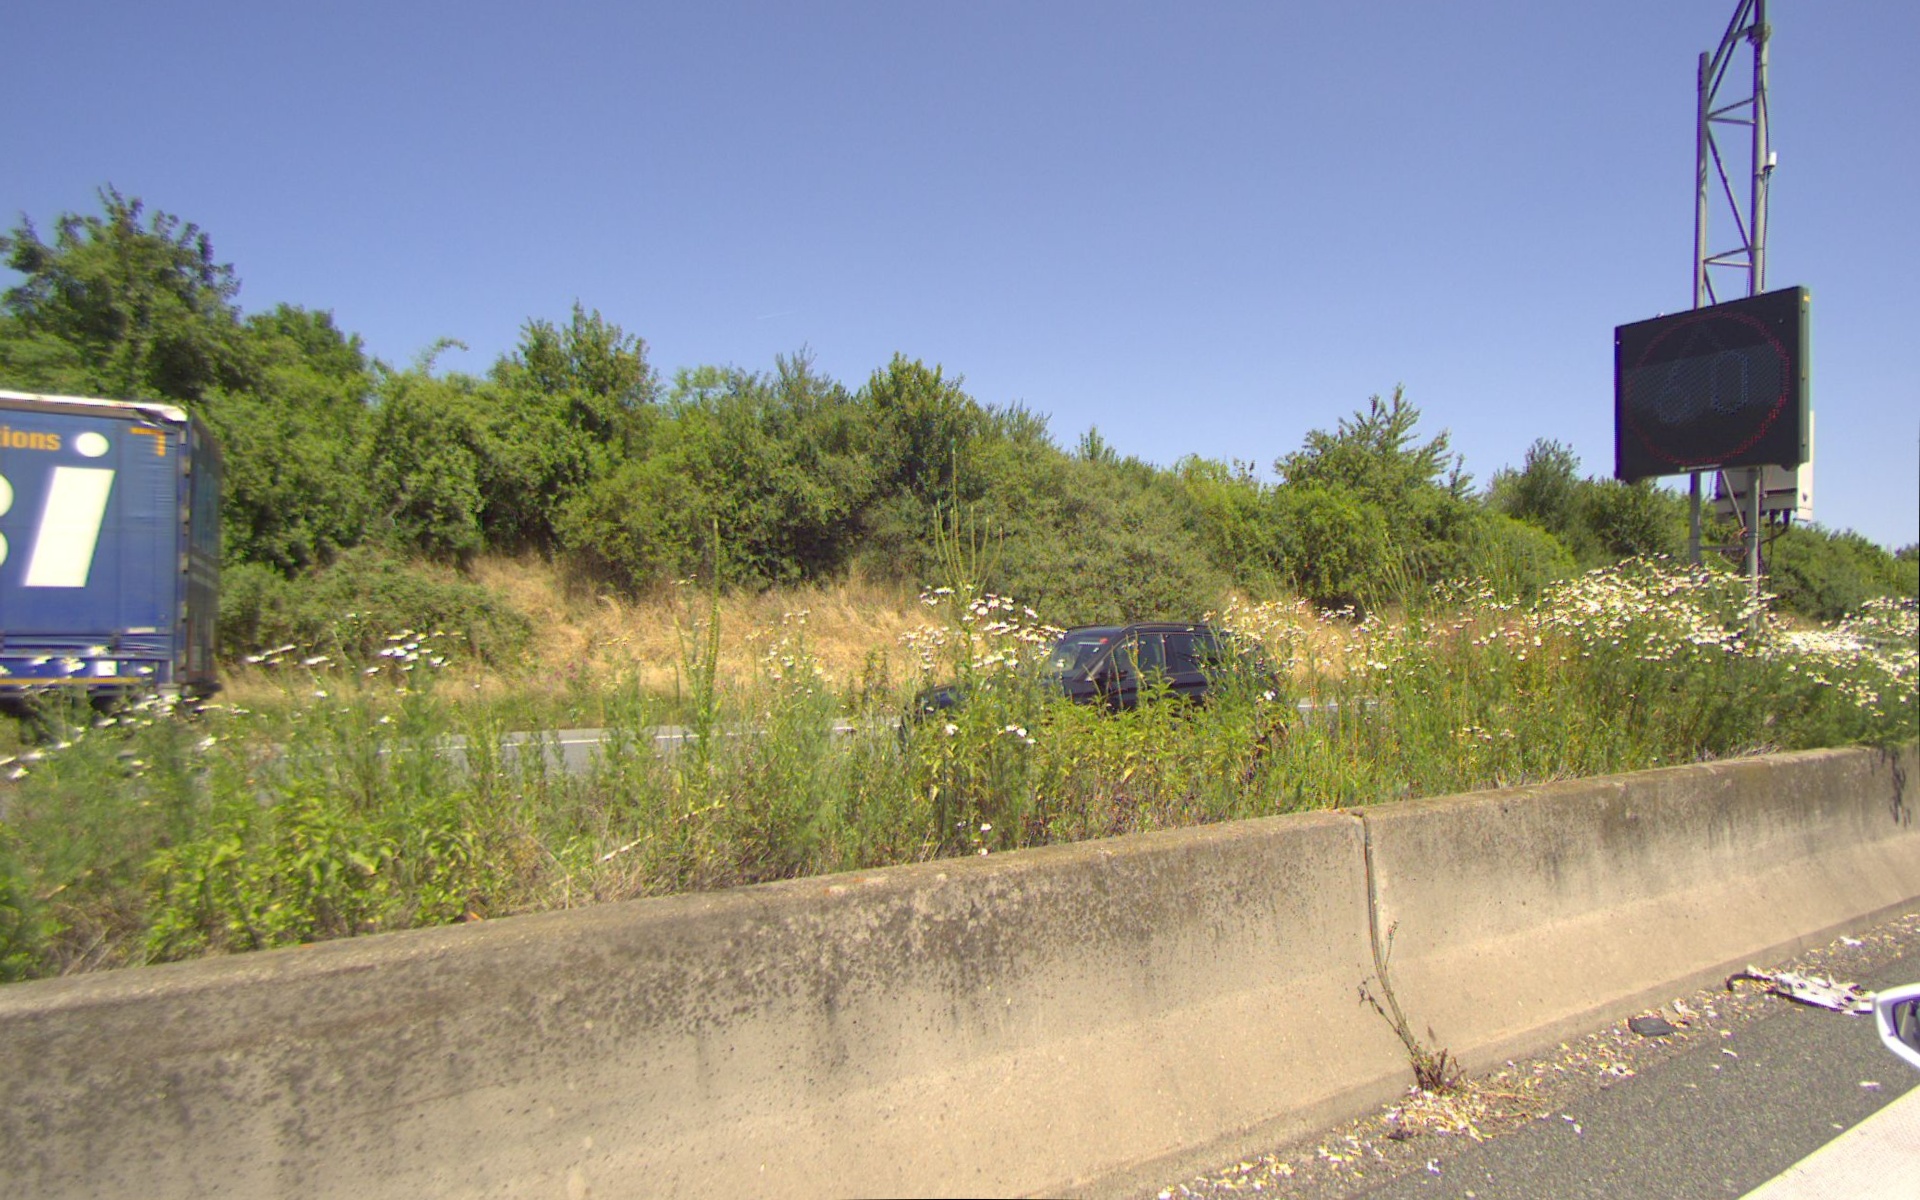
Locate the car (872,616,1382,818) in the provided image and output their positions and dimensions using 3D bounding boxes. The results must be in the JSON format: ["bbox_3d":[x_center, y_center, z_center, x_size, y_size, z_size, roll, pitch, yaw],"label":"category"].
[{"bbox_3d":[1.744,0.983,9.908,4.855,1.566,1.984,1,-2,-31],"label":"car"}]

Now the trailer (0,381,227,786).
[{"bbox_3d":[-14.927,-0.213,8.767,13.439,4.109,2.947,1,-4,-31],"label":"trailer"}]
